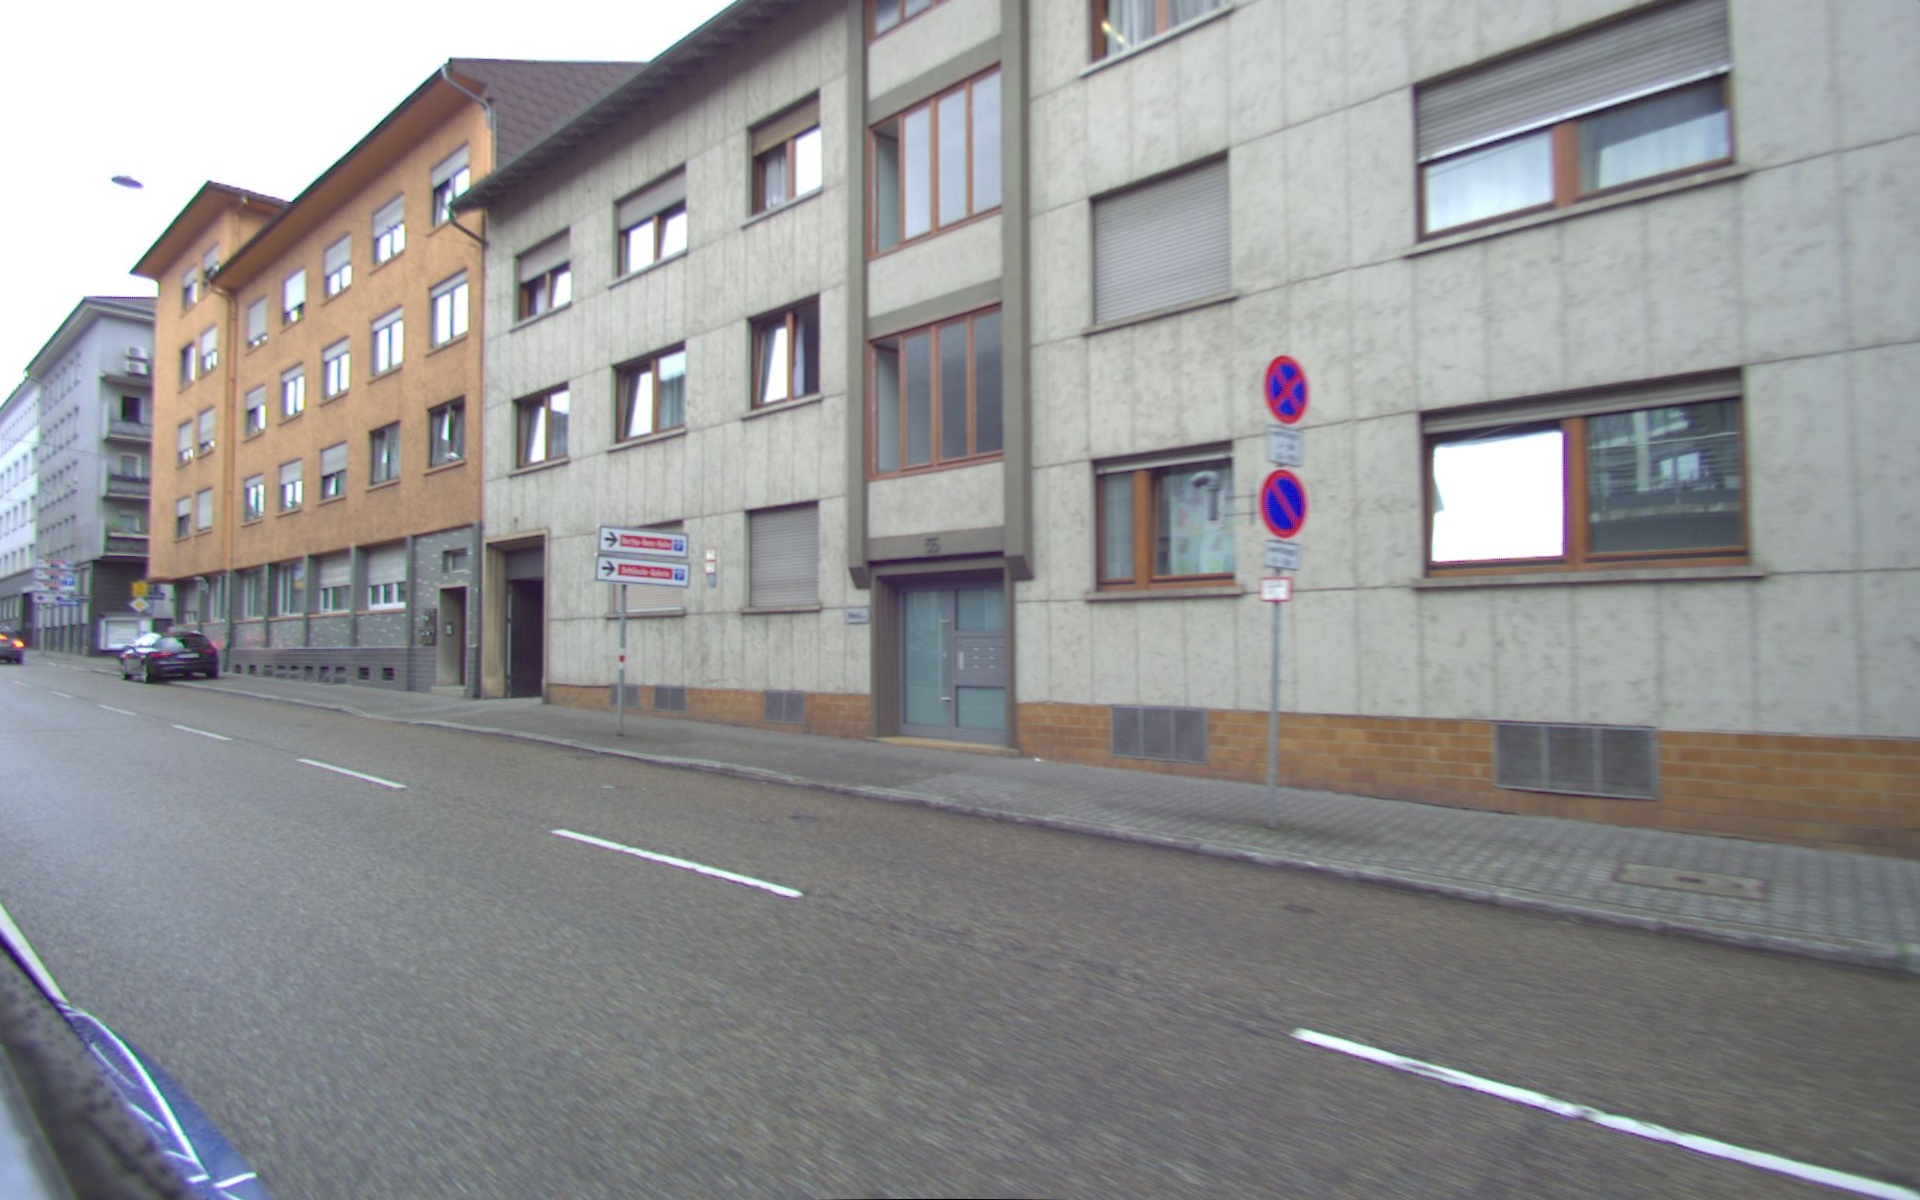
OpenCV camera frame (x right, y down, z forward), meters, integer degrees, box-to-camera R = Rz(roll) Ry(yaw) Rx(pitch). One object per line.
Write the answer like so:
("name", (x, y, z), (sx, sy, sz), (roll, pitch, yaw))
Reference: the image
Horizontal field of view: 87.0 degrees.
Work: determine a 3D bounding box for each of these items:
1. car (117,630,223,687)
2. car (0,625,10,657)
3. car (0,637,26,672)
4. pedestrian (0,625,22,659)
("car", (-23.986, 1.722, 30.679), (4.216, 1.485, 1.776), (-1, 1, 41))
("car", (-56.114, 2.363, 58.137), (4.216, 1.735, 1.832), (-1, 1, 41))
("car", (-40.856, 2.248, 42.571), (4.362, 1.381, 1.678), (0, -4, 40))
("pedestrian", (-58.784, 2.577, 62.351), (1.258, 2.029, 1.292), (-1, 1, 41))
